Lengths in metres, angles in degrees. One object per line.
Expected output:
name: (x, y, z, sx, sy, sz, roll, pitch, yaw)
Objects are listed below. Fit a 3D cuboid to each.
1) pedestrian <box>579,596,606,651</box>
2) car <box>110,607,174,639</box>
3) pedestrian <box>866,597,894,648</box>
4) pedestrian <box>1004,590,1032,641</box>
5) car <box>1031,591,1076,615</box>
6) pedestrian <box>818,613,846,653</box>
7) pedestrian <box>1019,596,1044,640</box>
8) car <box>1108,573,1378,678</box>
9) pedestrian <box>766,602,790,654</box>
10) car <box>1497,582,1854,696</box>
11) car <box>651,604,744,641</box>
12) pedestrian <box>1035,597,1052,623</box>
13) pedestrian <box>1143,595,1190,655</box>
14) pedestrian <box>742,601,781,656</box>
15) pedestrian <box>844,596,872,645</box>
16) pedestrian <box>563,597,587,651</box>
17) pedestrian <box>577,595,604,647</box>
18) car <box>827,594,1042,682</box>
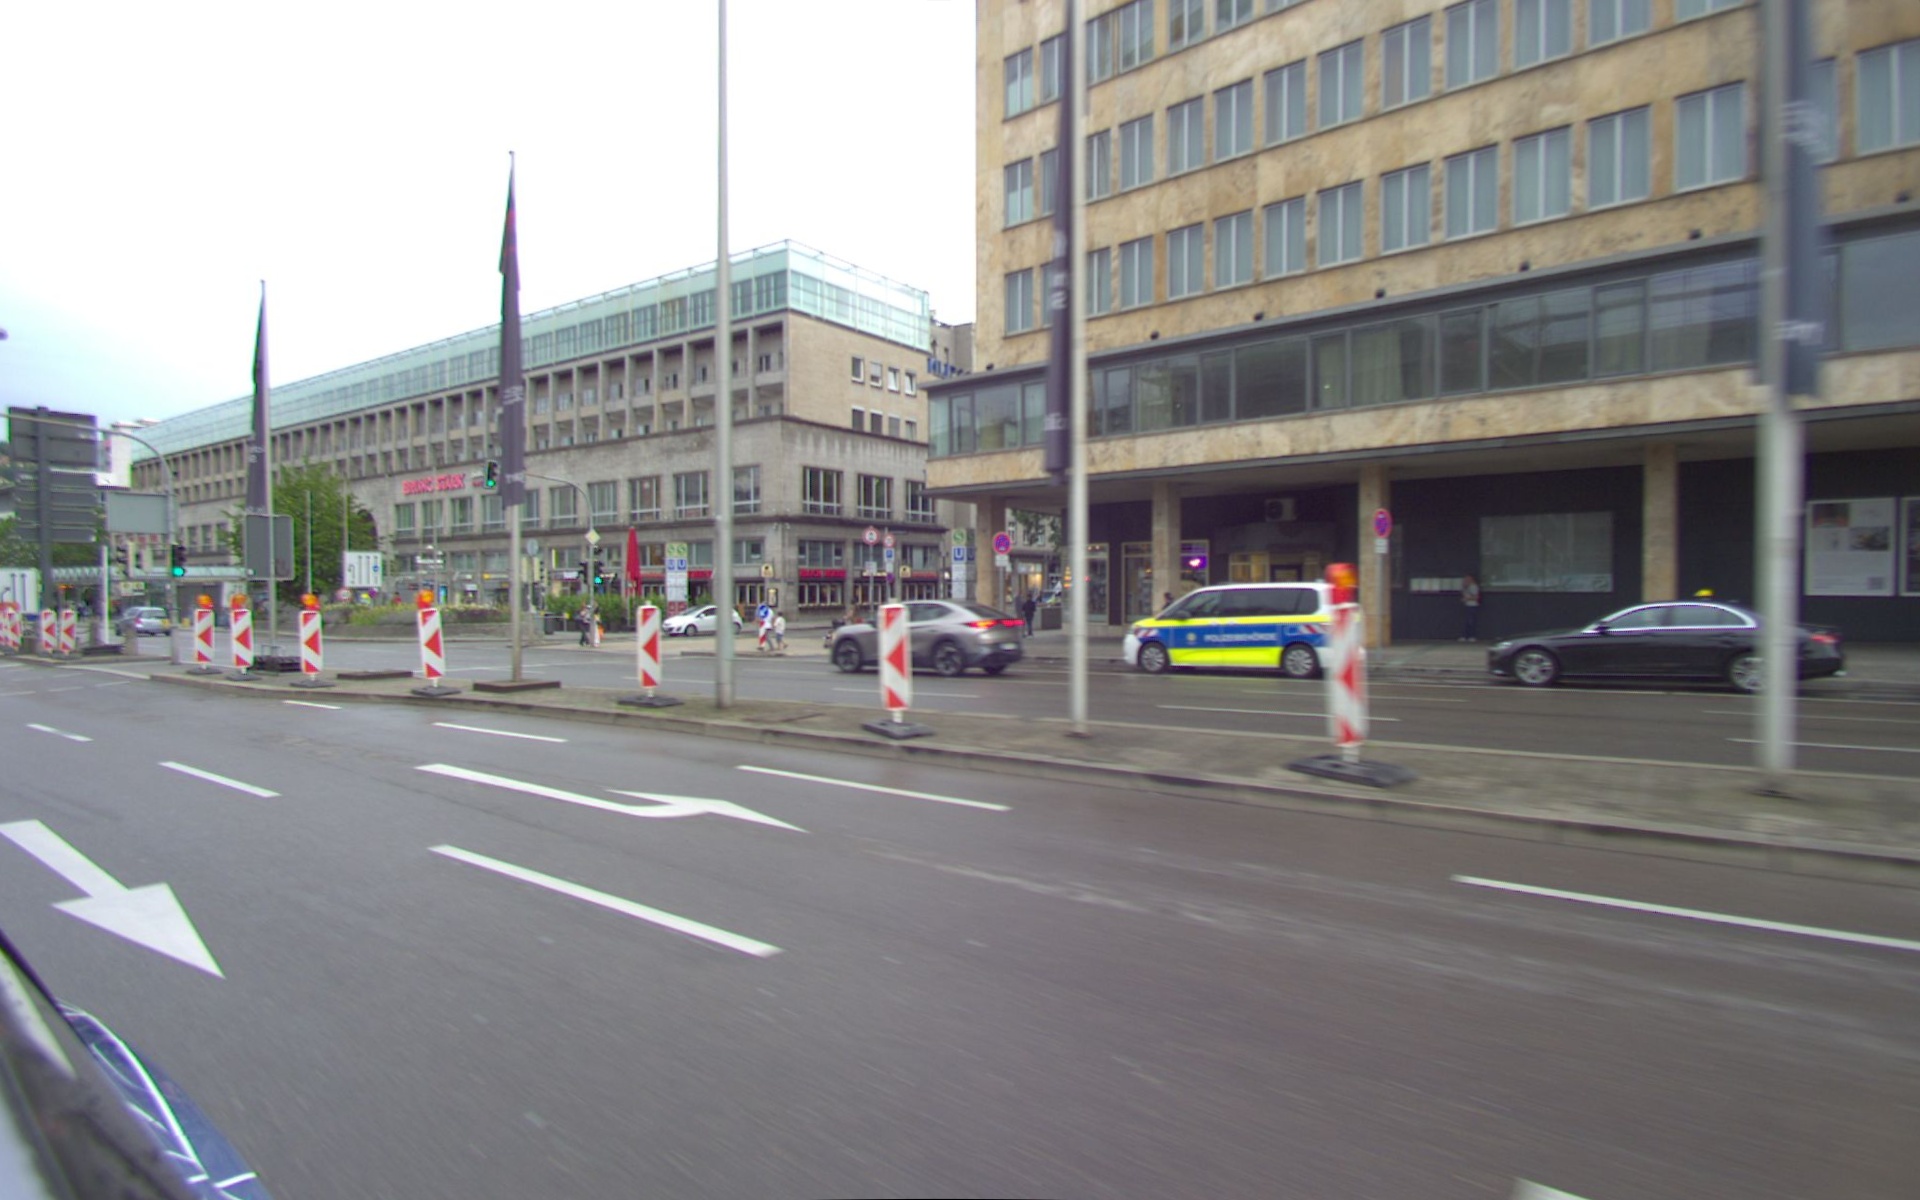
pedestrian: (-13.025, 0.823, 35.847, 0.750, 1.939, 0.584, -1, 0, 36)
car: (-44.555, 1.232, 55.103, 3.992, 1.633, 1.738, -1, 0, 36)
pedestrian: (-2.676, 0.756, 33.736, 0.751, 1.681, 0.558, -1, -1, 35)
pedestrian: (2.172, 0.568, 38.107, 0.772, 1.889, 0.707, -1, 0, 42)
car: (7.086, 0.222, 76.451, 1.791, 1.741, 4.040, -1, 0, 32)
pedestrian: (-4.252, 1.080, 33.570, 0.751, 1.301, 0.558, -1, -1, 35)
pedestrian: (2.657, 0.670, 37.422, 0.683, 1.621, 0.617, -1, 0, 42)
car: (5.805, 0.549, 21.096, 5.065, 1.943, 1.883, -2, -2, 36)
pedestrian: (-5.835, 0.890, 32.370, 0.524, 1.630, 0.447, -1, 3, 26)
car: (11.469, 0.583, 16.562, 4.556, 1.633, 1.738, -1, 0, 36)
car: (-12.553, 1.065, 48.563, 1.805, 1.652, 4.038, -1, 0, 41)
pedestrian: (4.530, 0.543, 54.747, 0.601, 1.375, 0.692, 0, 3, 38)
pedestrian: (5.460, 0.658, 26.775, 0.956, 1.561, 0.707, -1, 0, 43)
pedestrian: (-6.225, 0.887, 31.716, 0.785, 1.630, 0.832, -1, 3, 26)
pedestrian: (-3.371, 0.667, 33.422, 0.679, 1.604, 0.659, -1, -1, 31)
pedestrian: (-13.837, 0.854, 36.368, 0.705, 1.939, 0.593, -1, 0, -12)
pedestrian: (-14.763, 0.829, 40.434, 0.806, 2.029, 0.697, -1, -1, 37)
car: (-0.612, 0.769, 21.510, 4.494, 1.682, 1.757, -1, -1, 38)
